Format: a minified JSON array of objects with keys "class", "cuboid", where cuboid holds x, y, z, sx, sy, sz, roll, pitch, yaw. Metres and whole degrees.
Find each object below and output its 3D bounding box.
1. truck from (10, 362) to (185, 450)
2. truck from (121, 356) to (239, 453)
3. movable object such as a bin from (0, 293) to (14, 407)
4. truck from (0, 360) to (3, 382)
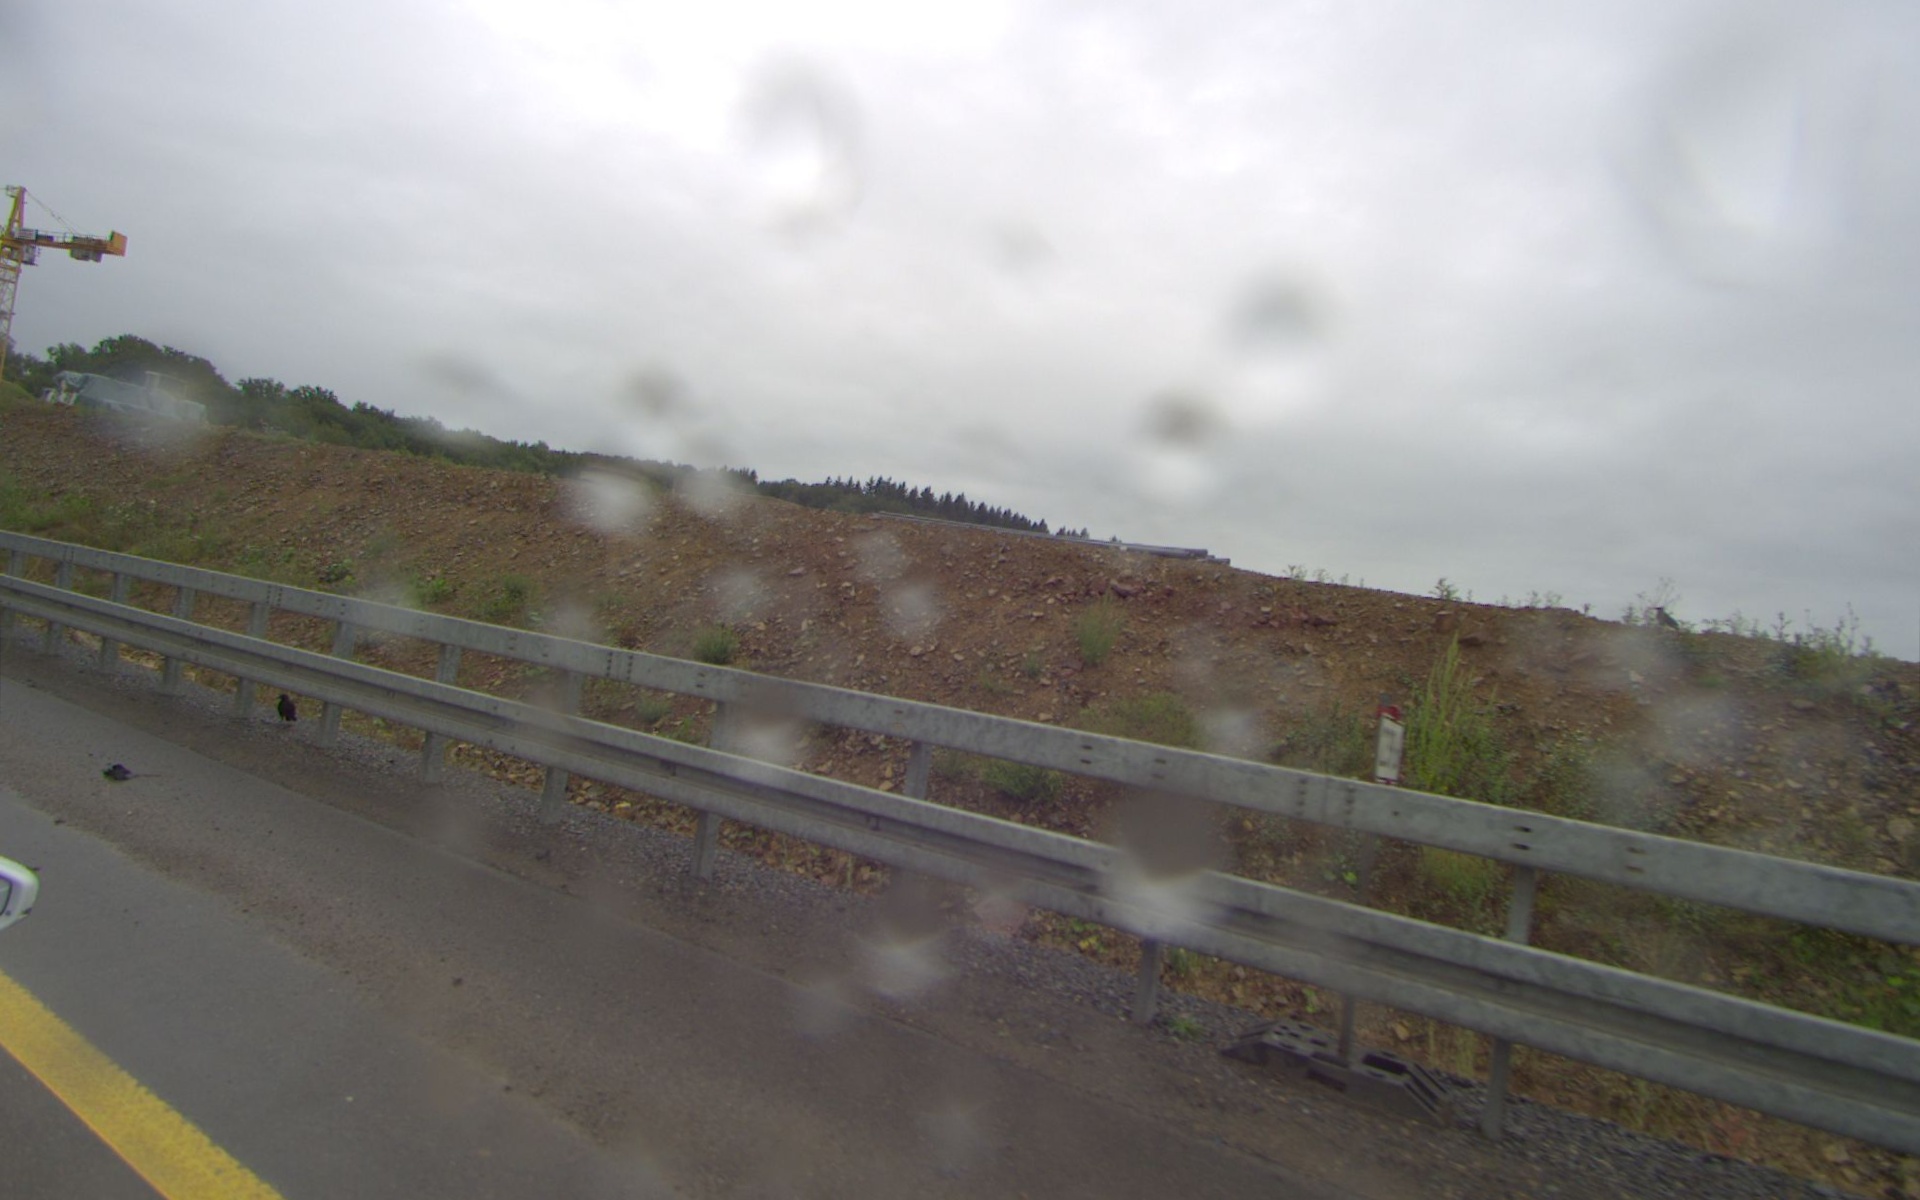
[{"class":"truck","cuboid":[-38.978,-8.658,45.366,8.813,2.909,3.400,7,-1,33]},{"class":"truck","cuboid":[-40.042,-9.999,51.601,5.878,4.268,2.378,7,0,30]},{"class":"movable object such as a bin","cuboid":[-89.979,-22.267,91.445,4.707,10.971,10.173,8,0,-44]},{"class":"truck","cuboid":[-57.385,-12.614,56.952,6.866,2.585,2.651,7,-1,30]}]
